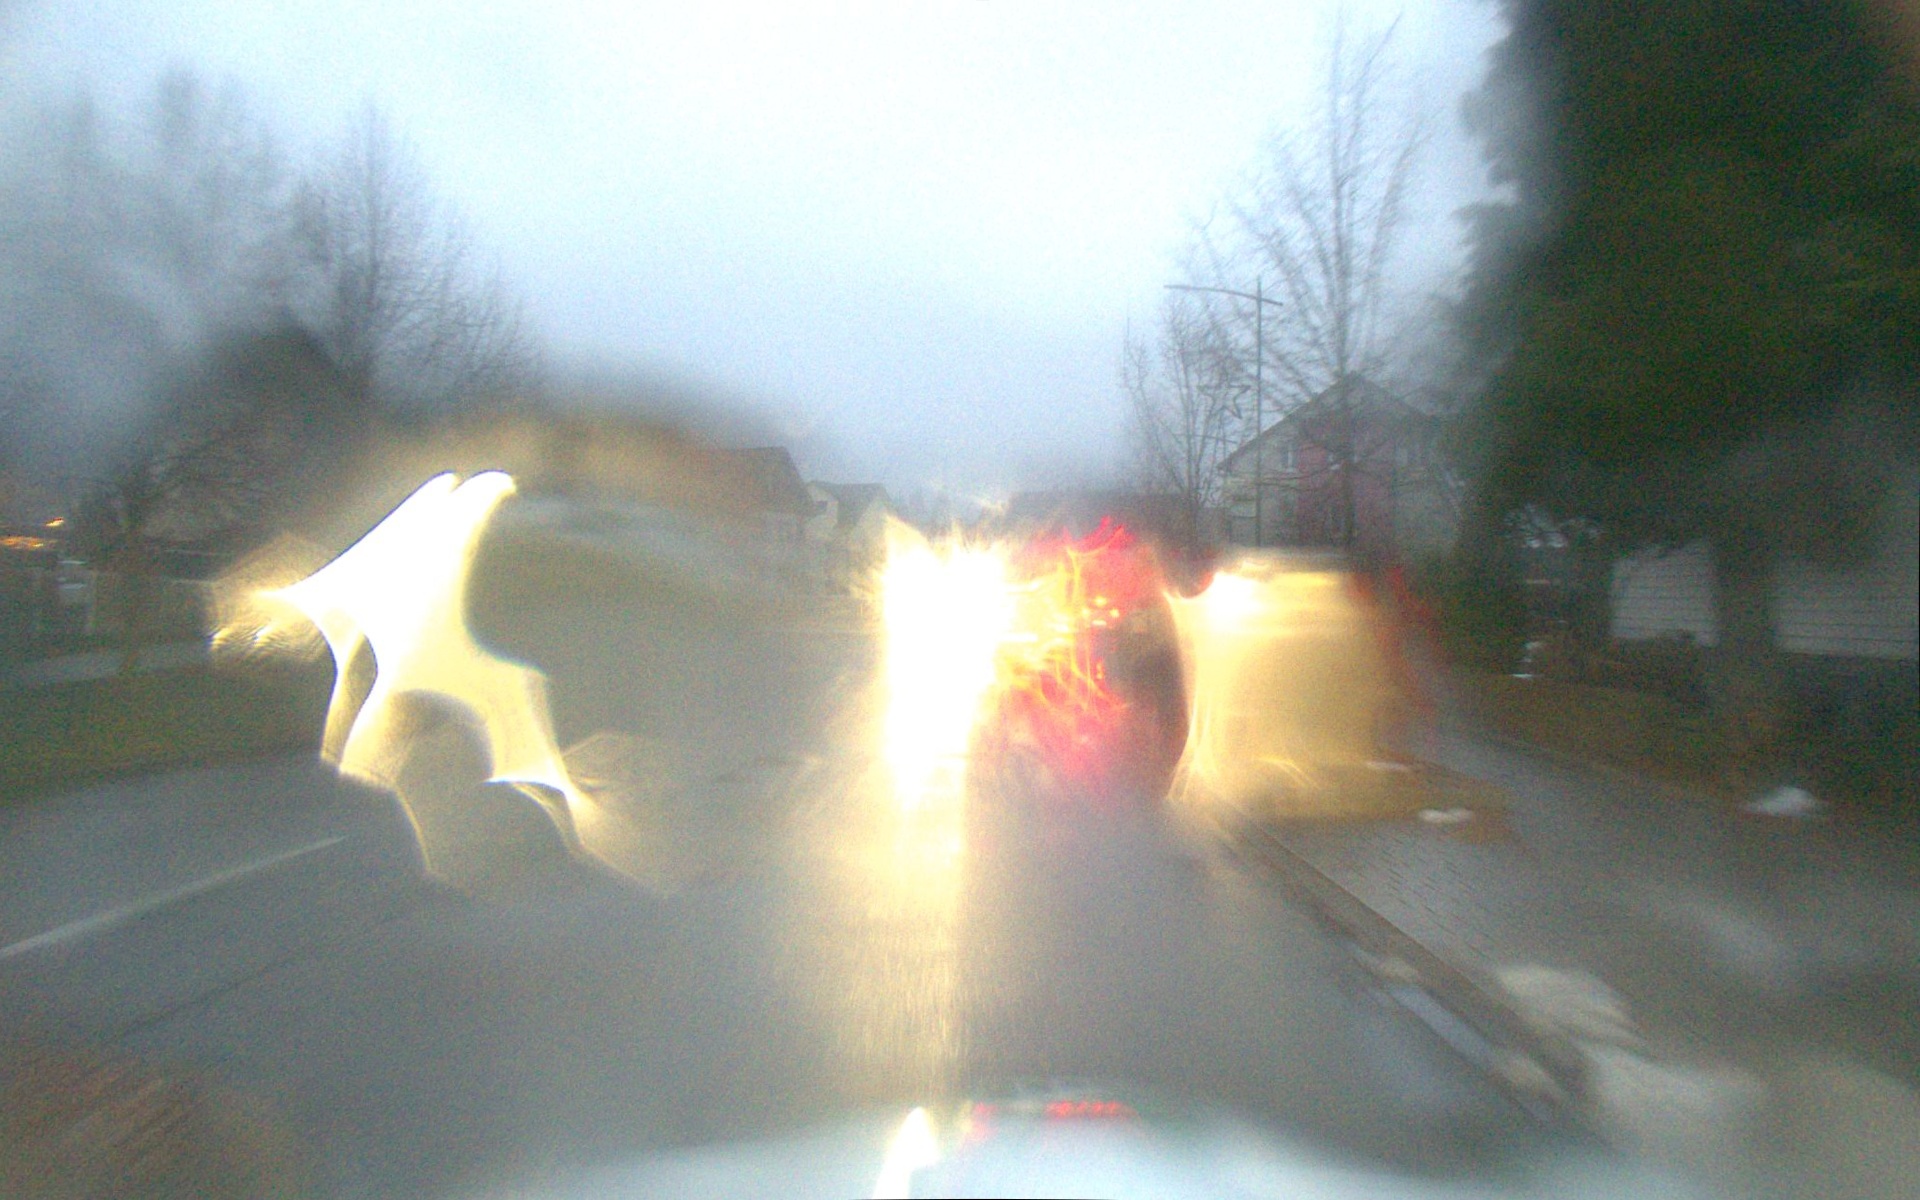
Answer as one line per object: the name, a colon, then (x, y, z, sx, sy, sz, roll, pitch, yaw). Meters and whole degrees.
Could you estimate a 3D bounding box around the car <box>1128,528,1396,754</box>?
car: (3.111, 0.351, 18.302, 1.937, 2.049, 5.746, -2, 1, 1)

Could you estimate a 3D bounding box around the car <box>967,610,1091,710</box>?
car: (1.117, 0.974, 28.563, 1.953, 1.552, 4.000, 1, 0, 0)

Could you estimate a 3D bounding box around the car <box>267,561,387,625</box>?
car: (-21.513, -0.239, 56.379, 1.877, 2.048, 4.003, 2, 1, 13)

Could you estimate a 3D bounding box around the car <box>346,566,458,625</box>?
car: (-20.509, -0.194, 60.966, 1.951, 2.048, 4.226, 2, 1, 13)

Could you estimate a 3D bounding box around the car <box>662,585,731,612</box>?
car: (-13.728, -0.090, 86.471, 1.951, 1.330, 4.115, 2, 1, 16)

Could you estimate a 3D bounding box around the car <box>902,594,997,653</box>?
car: (-0.234, 0.607, 45.387, 1.866, 1.514, 4.572, 0, 1, 9)

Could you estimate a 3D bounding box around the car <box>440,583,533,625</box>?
car: (-17.102, 0.117, 59.973, 1.359, 1.463, 4.340, 2, 1, 11)

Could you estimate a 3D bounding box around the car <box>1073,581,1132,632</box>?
car: (5.968, 0.288, 68.735, 1.951, 2.049, 4.003, 1, 0, 12)

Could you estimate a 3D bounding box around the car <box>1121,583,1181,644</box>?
car: (6.157, 0.388, 53.029, 1.708, 1.816, 4.340, -2, 1, 9)
